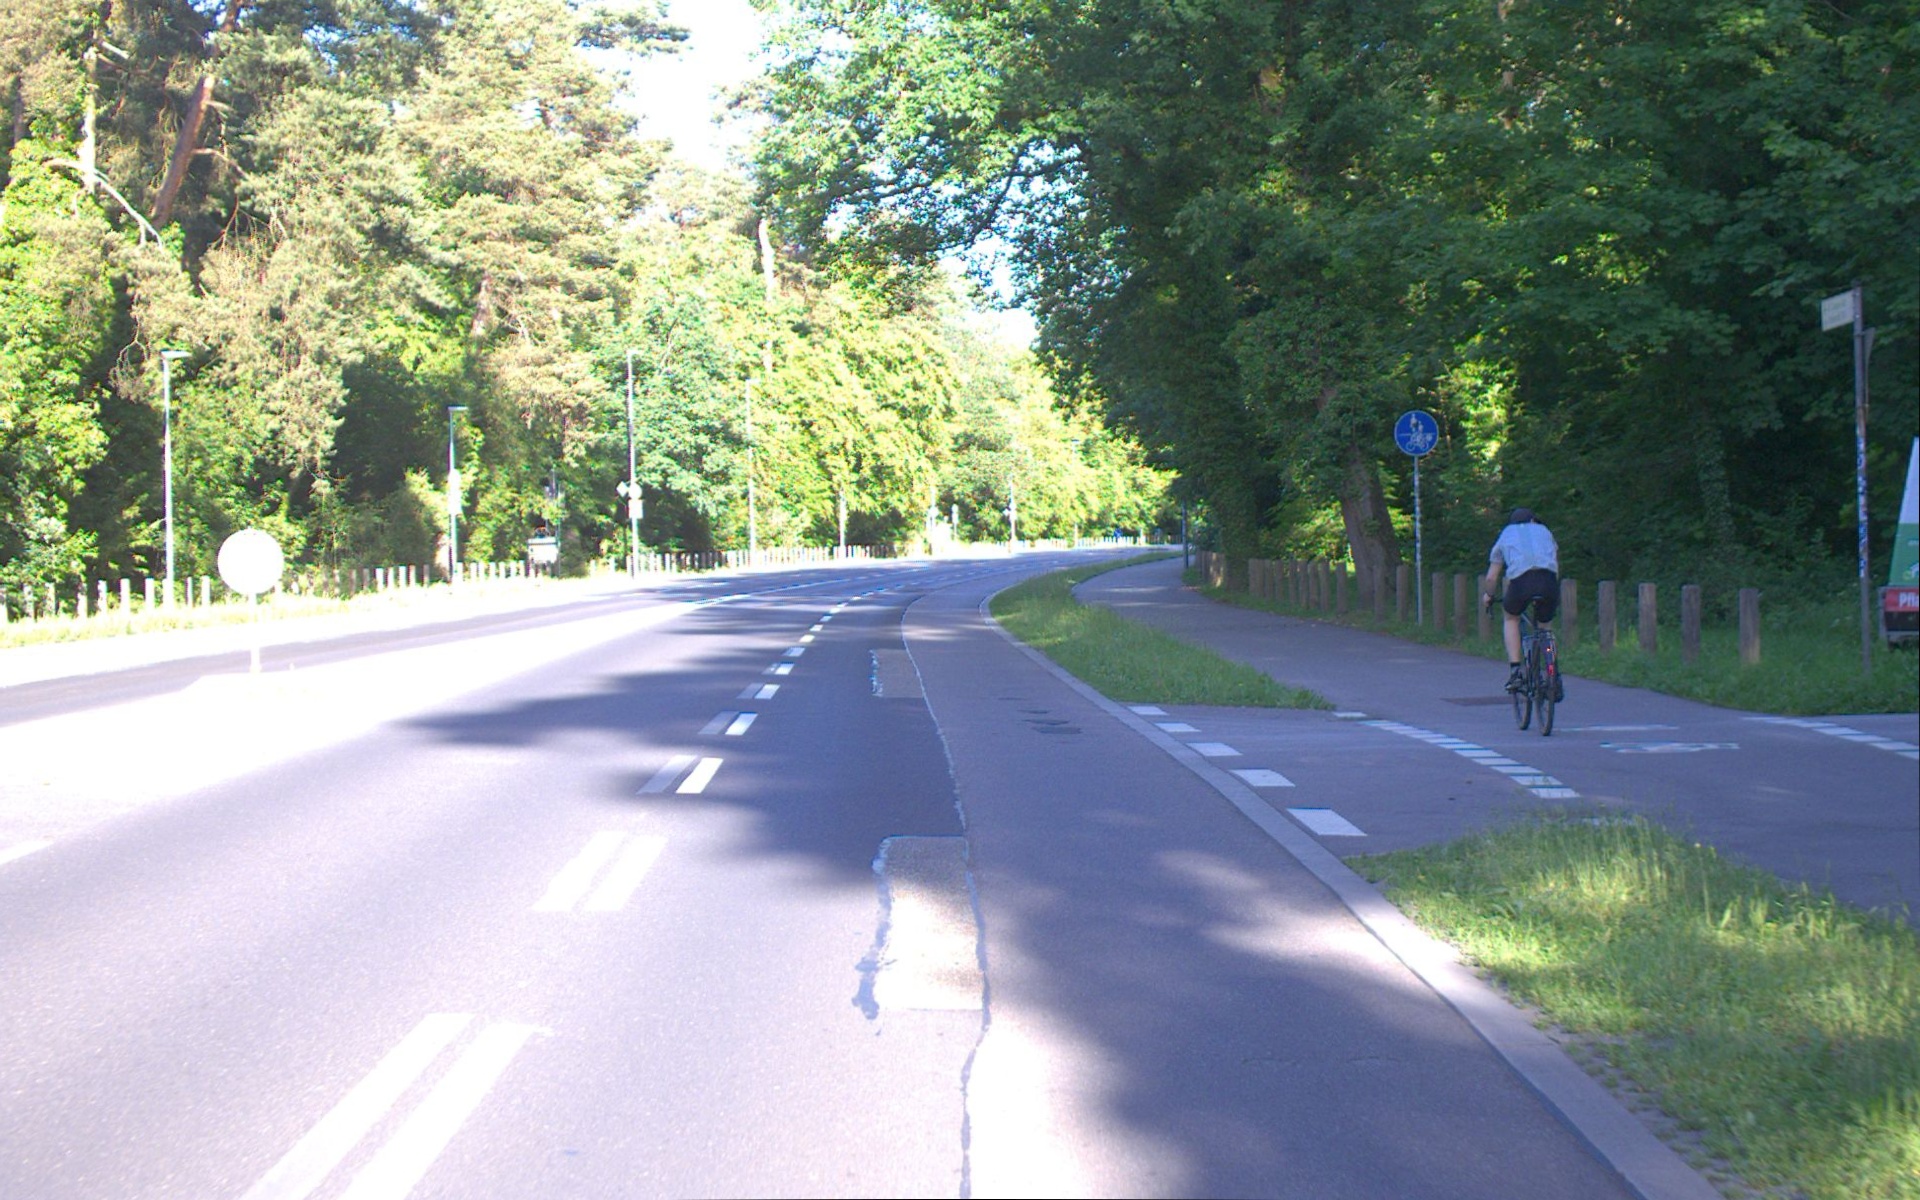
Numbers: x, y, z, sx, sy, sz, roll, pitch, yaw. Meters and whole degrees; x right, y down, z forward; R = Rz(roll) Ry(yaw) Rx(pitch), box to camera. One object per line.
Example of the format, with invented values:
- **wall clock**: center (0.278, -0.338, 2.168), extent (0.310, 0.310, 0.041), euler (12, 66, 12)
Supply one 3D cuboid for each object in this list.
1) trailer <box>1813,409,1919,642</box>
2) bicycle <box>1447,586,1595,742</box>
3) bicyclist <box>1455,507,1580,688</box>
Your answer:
- **trailer**: center (9.817, -0.628, 29.801), extent (4.223, 2.014, 1.995), euler (3, 3, 40)
- **bicycle**: center (4.049, 0.440, 24.954), extent (0.712, 1.052, 2.053), euler (0, 1, -1)
- **bicyclist**: center (4.048, -0.025, 25.032), extent (0.712, 1.284, 1.104), euler (0, 1, -1)
